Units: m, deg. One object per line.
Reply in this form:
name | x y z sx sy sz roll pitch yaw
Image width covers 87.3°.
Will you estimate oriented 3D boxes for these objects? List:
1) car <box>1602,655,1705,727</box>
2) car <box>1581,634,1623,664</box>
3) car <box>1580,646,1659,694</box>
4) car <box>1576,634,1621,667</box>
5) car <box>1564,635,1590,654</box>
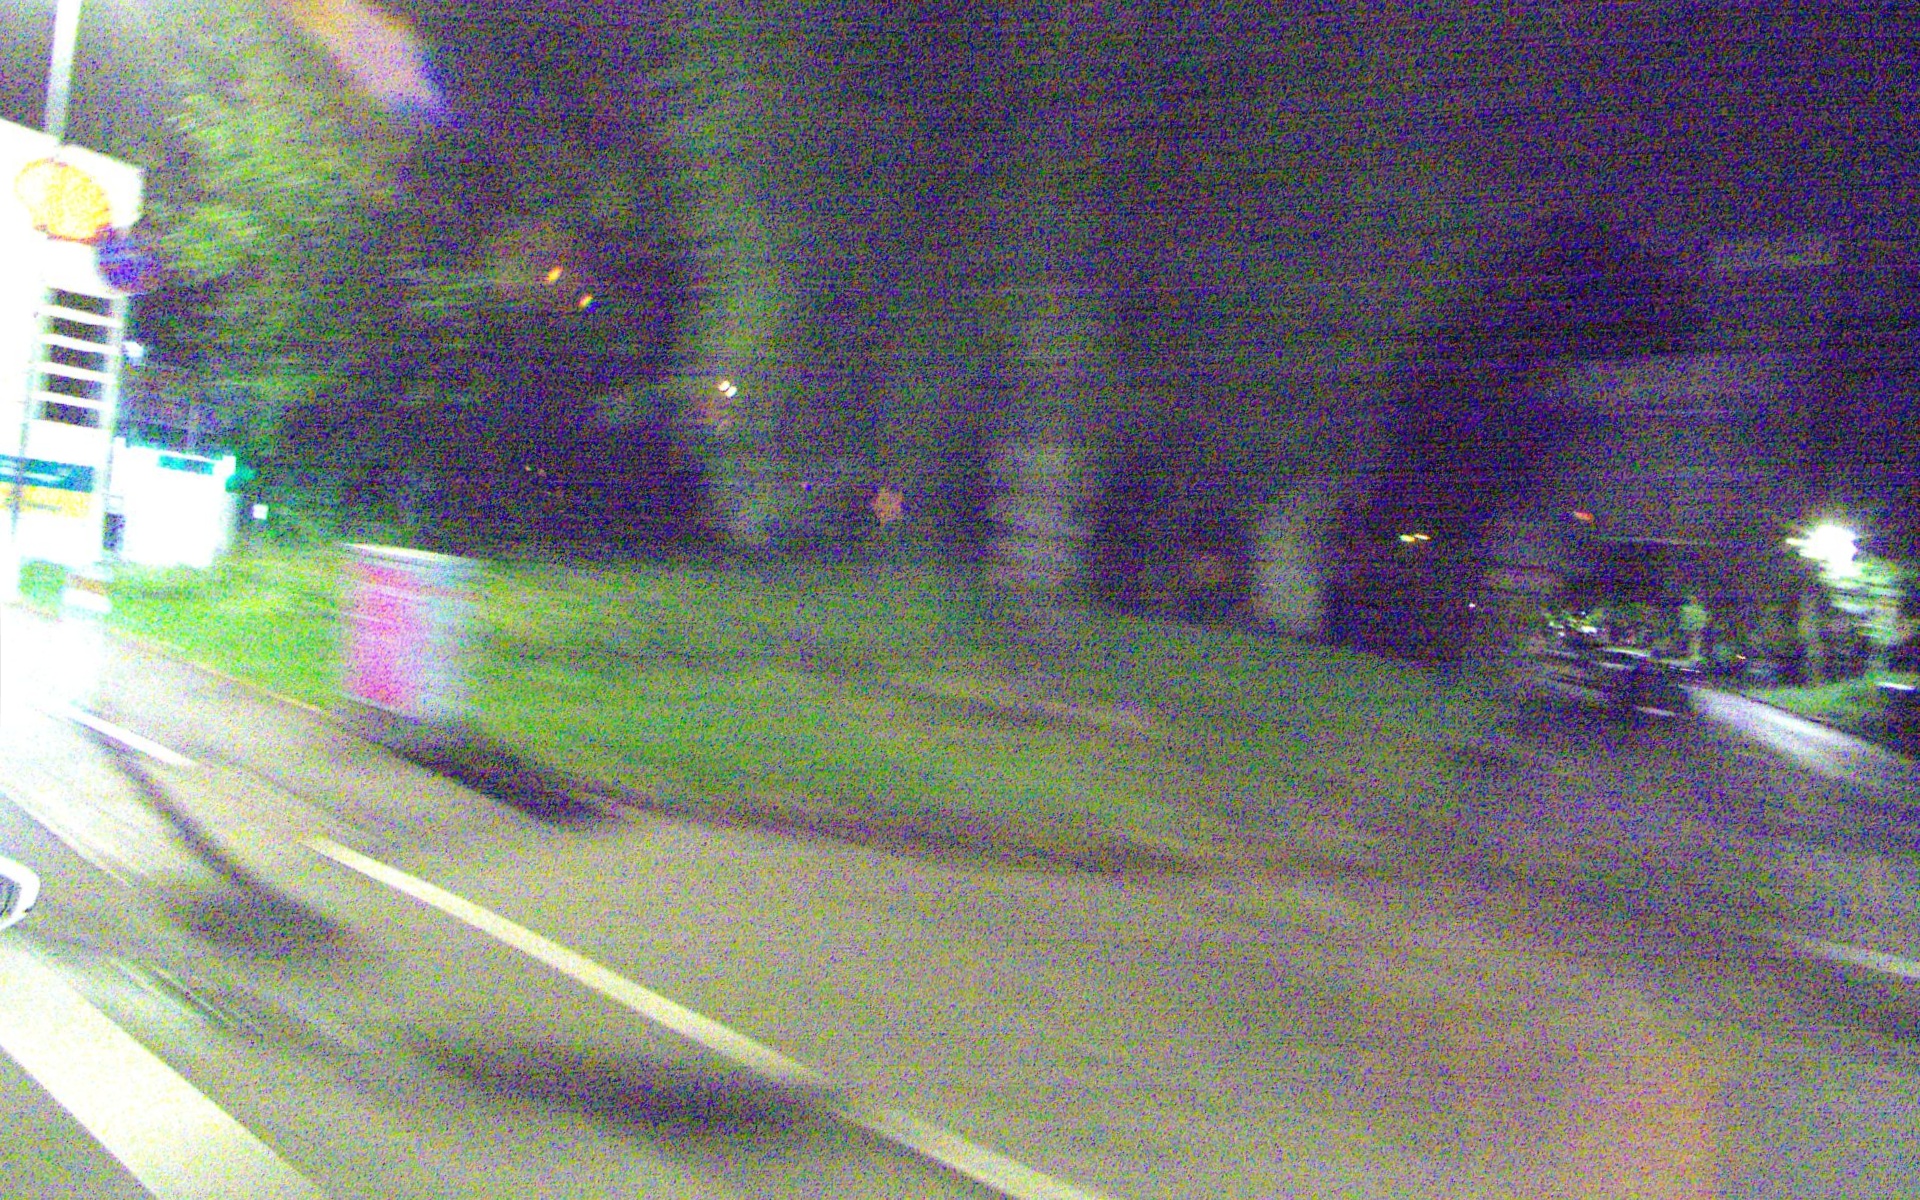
car | 17.596 2.249 25.672 1.720 1.491 3.776 7 1 30
car | 40.167 3.072 62.878 1.968 1.616 3.987 7 1 34
car | 24.635 2.567 37.717 1.818 1.449 3.994 7 1 26
car | 37.294 2.963 58.689 1.968 1.616 3.987 7 1 34
car | 63.165 4.544 102.977 1.968 1.616 3.987 7 1 34
